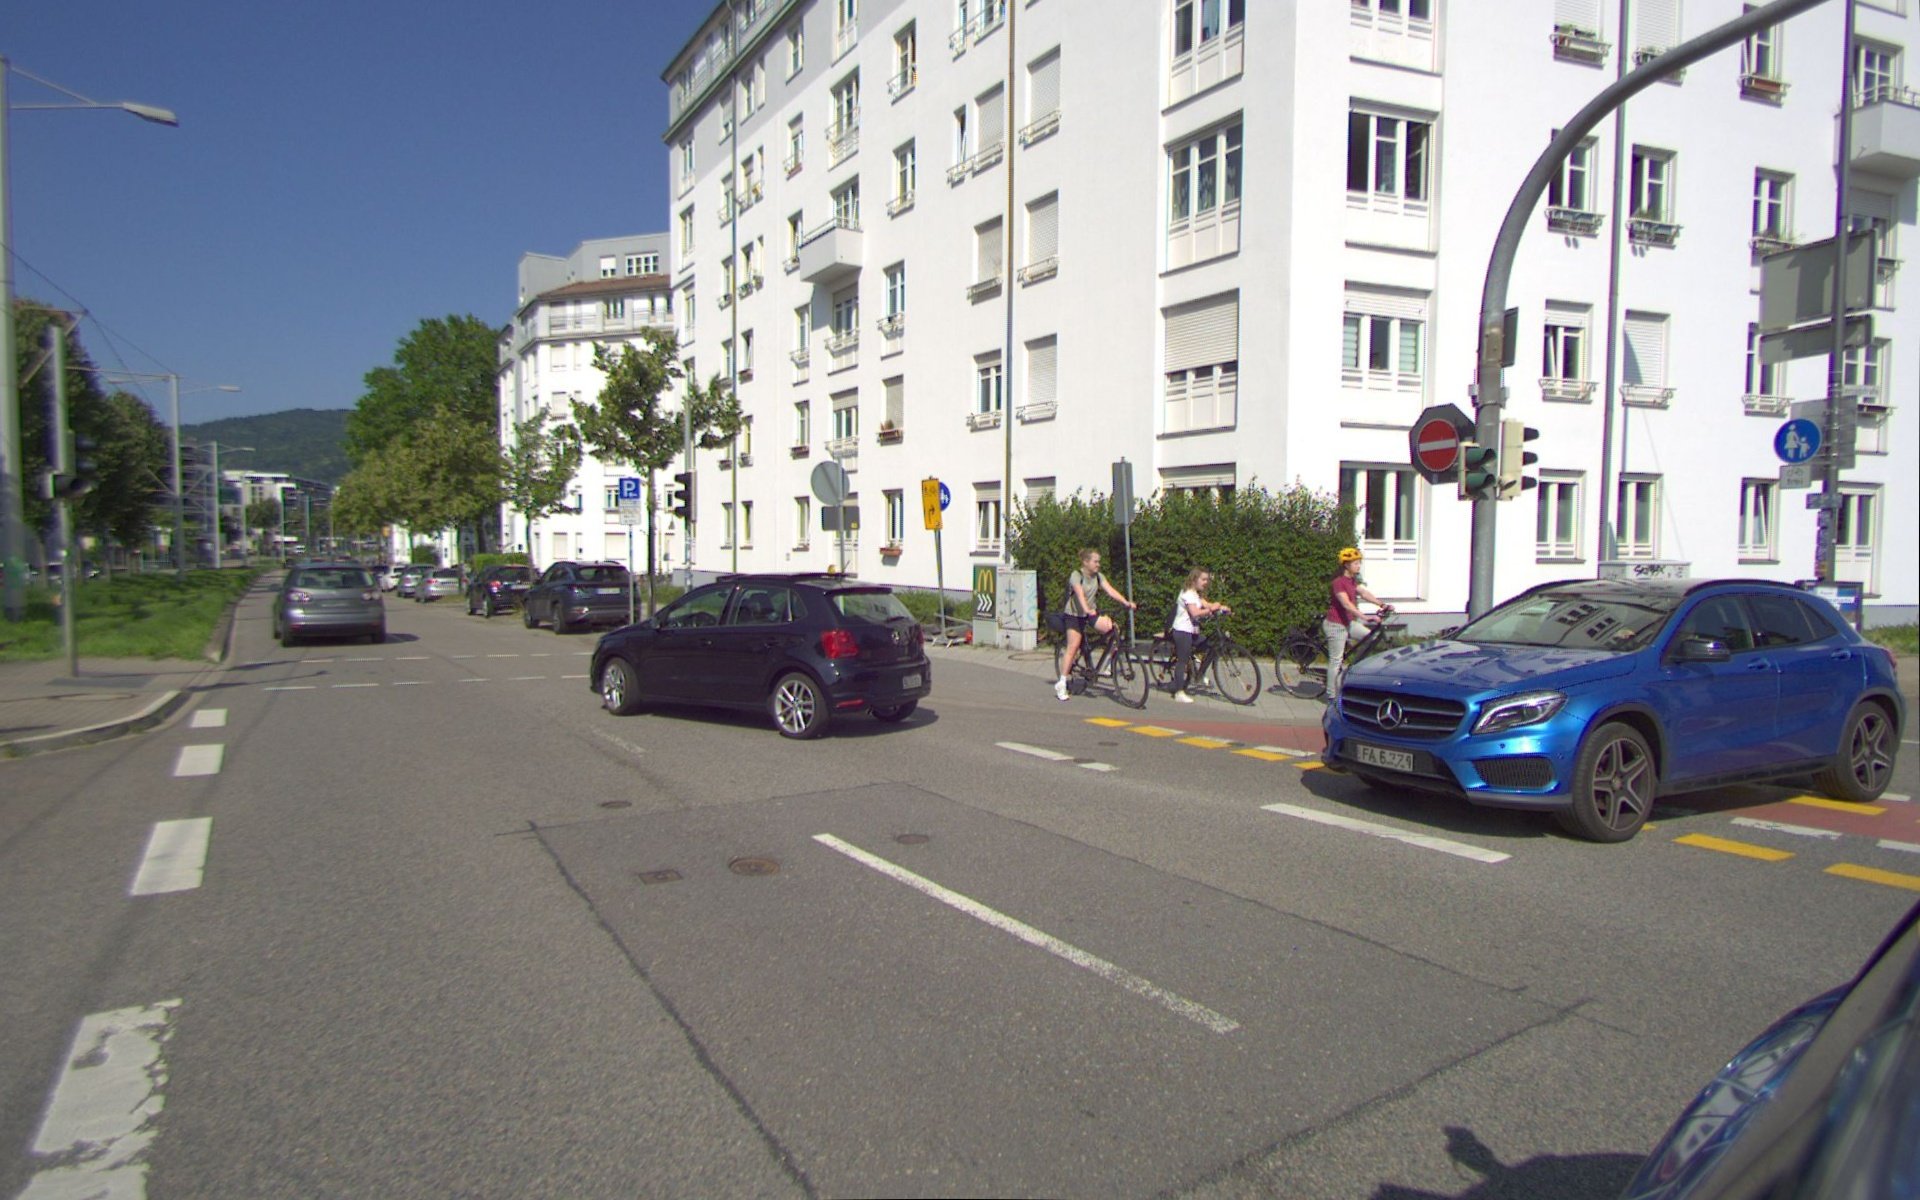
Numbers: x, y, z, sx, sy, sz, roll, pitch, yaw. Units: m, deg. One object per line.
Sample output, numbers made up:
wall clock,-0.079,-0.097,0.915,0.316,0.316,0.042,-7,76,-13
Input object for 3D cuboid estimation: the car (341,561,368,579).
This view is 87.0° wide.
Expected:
car,-50.501,-2.508,84.340,1.707,1.502,3.742,-2,3,-34

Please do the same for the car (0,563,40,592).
car,-47.058,-1.103,50.132,1.736,1.371,3.998,-3,3,-37

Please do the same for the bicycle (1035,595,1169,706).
bicycle,1.616,0.544,11.862,0.606,1.112,1.789,-2,3,-29

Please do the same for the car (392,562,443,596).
car,-25.837,-1.041,48.148,1.707,1.502,3.742,-2,3,-34

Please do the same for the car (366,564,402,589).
car,-37.042,-1.536,65.017,1.707,1.502,3.742,-2,3,-34

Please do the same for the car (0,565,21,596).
car,-44.198,-0.869,46.012,1.736,1.371,3.998,-3,3,-37

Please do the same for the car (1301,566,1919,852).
car,4.685,0.540,6.969,4.456,1.499,1.680,0,1,-23

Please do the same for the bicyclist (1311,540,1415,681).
bicyclist,4.476,0.091,11.259,0.588,1.496,0.915,-2,3,-45

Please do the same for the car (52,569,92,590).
car,-61.607,-1.448,70.254,1.736,1.371,3.998,-3,3,-37

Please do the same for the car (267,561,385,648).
car,-12.737,0.011,20.245,1.666,1.575,3.654,-1,2,-38

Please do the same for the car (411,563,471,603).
car,-21.180,-0.723,41.229,1.707,1.502,3.742,-2,3,-34

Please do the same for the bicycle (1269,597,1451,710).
bicycle,4.436,0.555,11.319,0.595,1.113,1.810,-2,3,-44

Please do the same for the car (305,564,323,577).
car,-77.438,-3.544,121.305,1.764,1.502,3.743,-2,3,-32

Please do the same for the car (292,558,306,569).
car,-106.641,-5.909,163.213,1.764,1.703,3.743,-2,3,-32

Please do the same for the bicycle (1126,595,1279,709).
bicycle,2.794,0.561,11.841,0.616,1.112,1.788,-6,5,-32

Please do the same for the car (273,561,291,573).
car,-86.388,-4.183,128.972,1.764,1.502,3.743,-2,3,-32

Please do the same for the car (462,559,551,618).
car,-13.871,-0.397,30.855,1.708,1.657,3.740,-2,3,-36

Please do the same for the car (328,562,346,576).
car,-70.079,-3.476,113.873,1.706,1.502,3.743,-2,3,-32

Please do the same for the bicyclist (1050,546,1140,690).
bicyclist,1.582,0.179,11.914,0.611,1.609,0.919,-2,2,-29

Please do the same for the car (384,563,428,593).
car,-29.649,-1.184,54.088,1.707,1.502,3.742,-2,3,-34

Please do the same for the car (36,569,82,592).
car,-55.932,-1.223,62.860,1.736,1.371,3.998,-3,3,-37

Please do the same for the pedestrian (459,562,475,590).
pedestrian,-30.967,-1.514,63.541,0.841,1.686,0.911,-1,2,-29

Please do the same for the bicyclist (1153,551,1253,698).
bicyclist,2.818,0.251,11.753,0.612,1.597,0.918,-5,5,-32

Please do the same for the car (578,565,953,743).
car,-2.025,0.410,10.262,3.632,1.511,1.577,1,2,31

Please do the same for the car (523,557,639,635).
car,-9.005,-0.168,23.892,1.707,1.657,3.742,-2,3,-34

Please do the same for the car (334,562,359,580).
car,-55.130,-2.615,90.965,1.707,1.502,3.742,-2,3,-34
